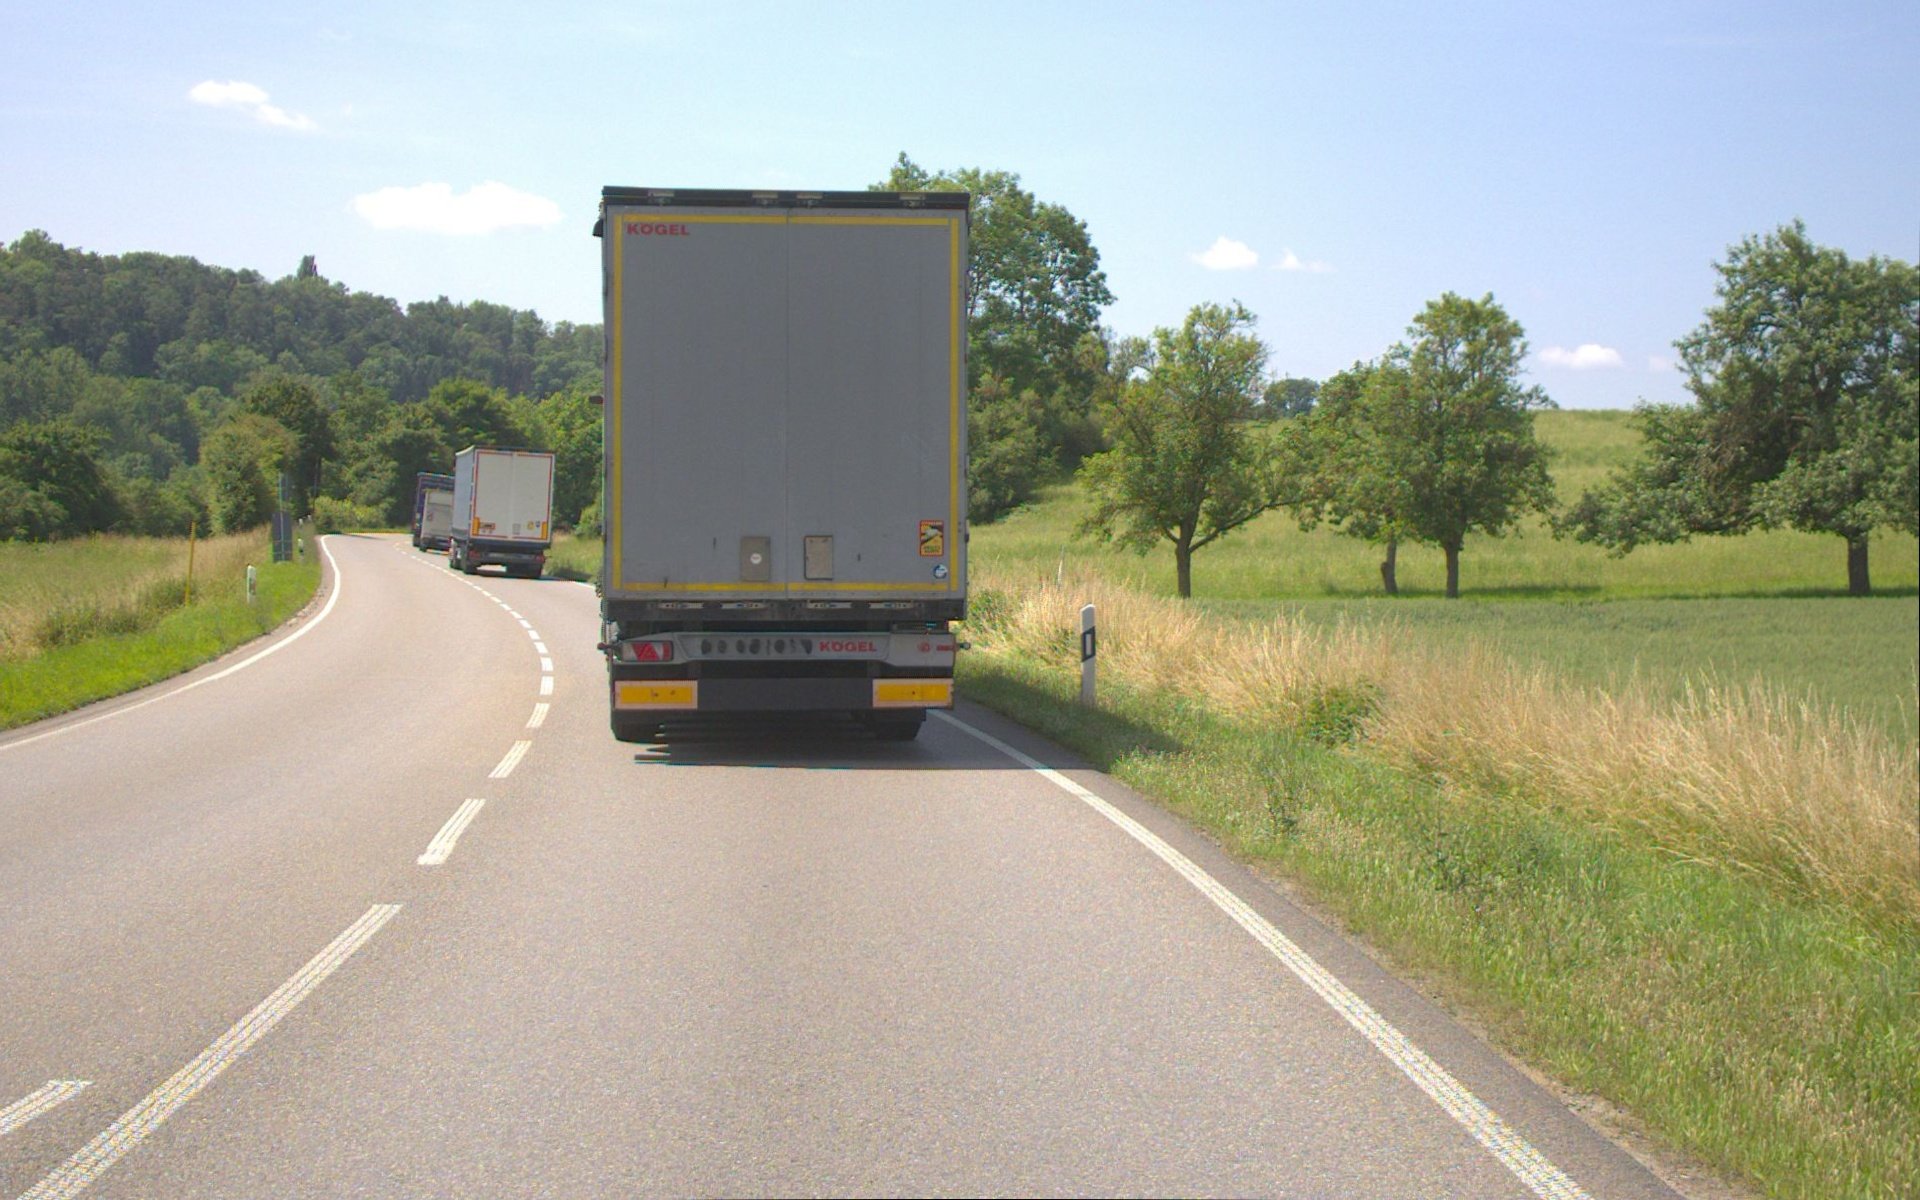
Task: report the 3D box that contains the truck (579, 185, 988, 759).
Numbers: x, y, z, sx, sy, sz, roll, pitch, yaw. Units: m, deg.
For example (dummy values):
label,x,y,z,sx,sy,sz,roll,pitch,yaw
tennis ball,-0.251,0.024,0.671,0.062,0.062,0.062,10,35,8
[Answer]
label,x,y,z,sx,sy,sz,roll,pitch,yaw
truck,-1.671,-0.975,28.495,2.807,3.932,9.593,0,1,-5

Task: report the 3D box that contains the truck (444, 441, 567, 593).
label,x,y,z,sx,sy,sz,roll,pitch,yaw
truck,-15.232,-2.810,114.156,2.960,4.568,16.321,2,1,-11

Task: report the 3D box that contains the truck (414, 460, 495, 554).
label,x,y,z,sx,sy,sz,roll,pitch,yaw
truck,-25.479,-4.580,172.796,3.636,4.115,13.100,3,-1,-9

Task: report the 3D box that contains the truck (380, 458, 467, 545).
label,x,y,z,sx,sy,sz,roll,pitch,yaw
truck,-29.945,-5.395,191.395,3.528,4.226,13.409,3,-1,-13
